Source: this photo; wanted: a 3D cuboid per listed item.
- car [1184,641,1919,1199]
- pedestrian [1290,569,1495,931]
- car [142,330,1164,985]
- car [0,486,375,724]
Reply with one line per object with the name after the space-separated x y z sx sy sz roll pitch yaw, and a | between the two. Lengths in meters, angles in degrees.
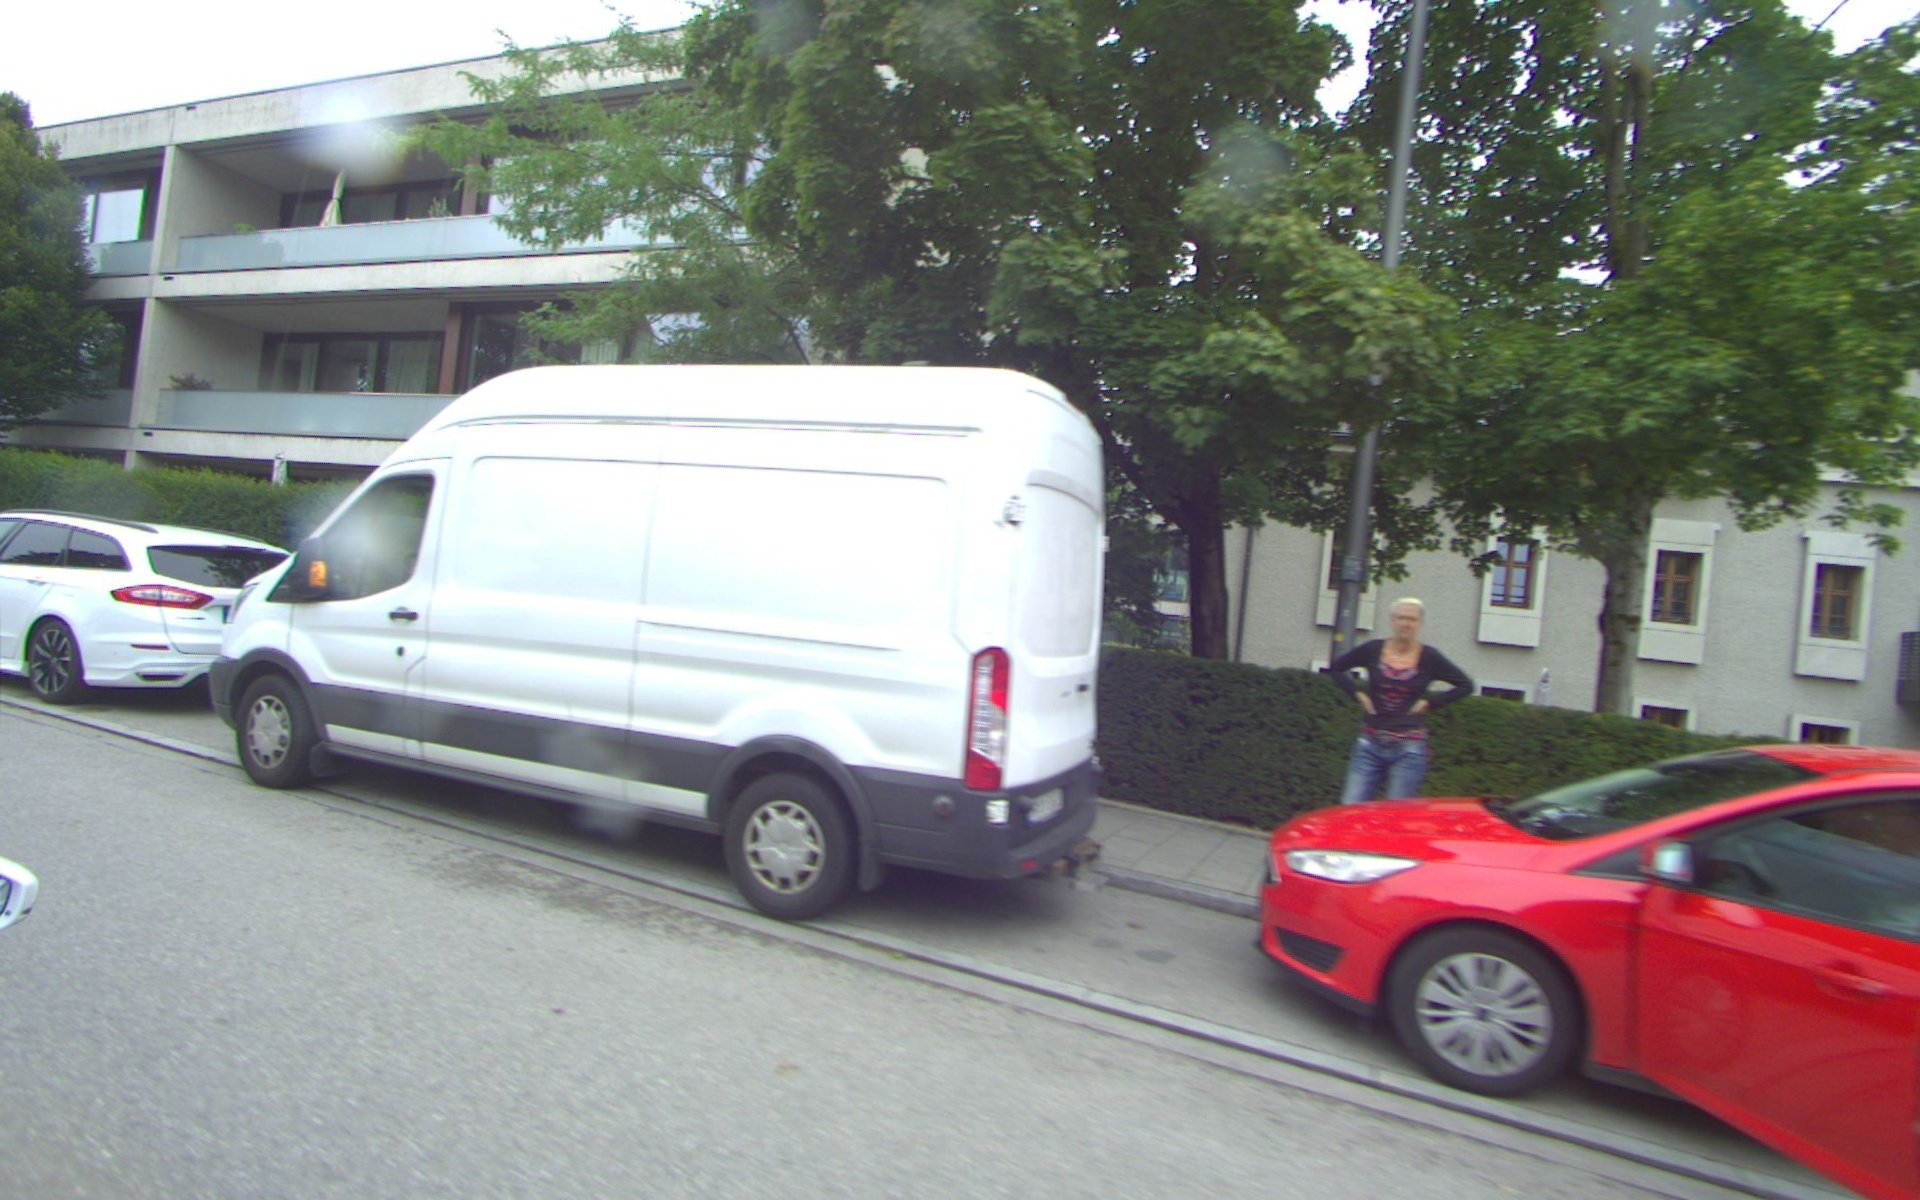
3.520 1.227 4.022 4.749 1.526 1.875 7 1 22 | car
2.627 0.855 6.079 0.850 1.925 0.797 7 -2 30 | pedestrian
-2.034 -0.006 6.339 5.976 2.721 2.085 7 1 22 | car
-8.014 -0.128 9.164 4.909 1.589 1.876 7 1 21 | car
